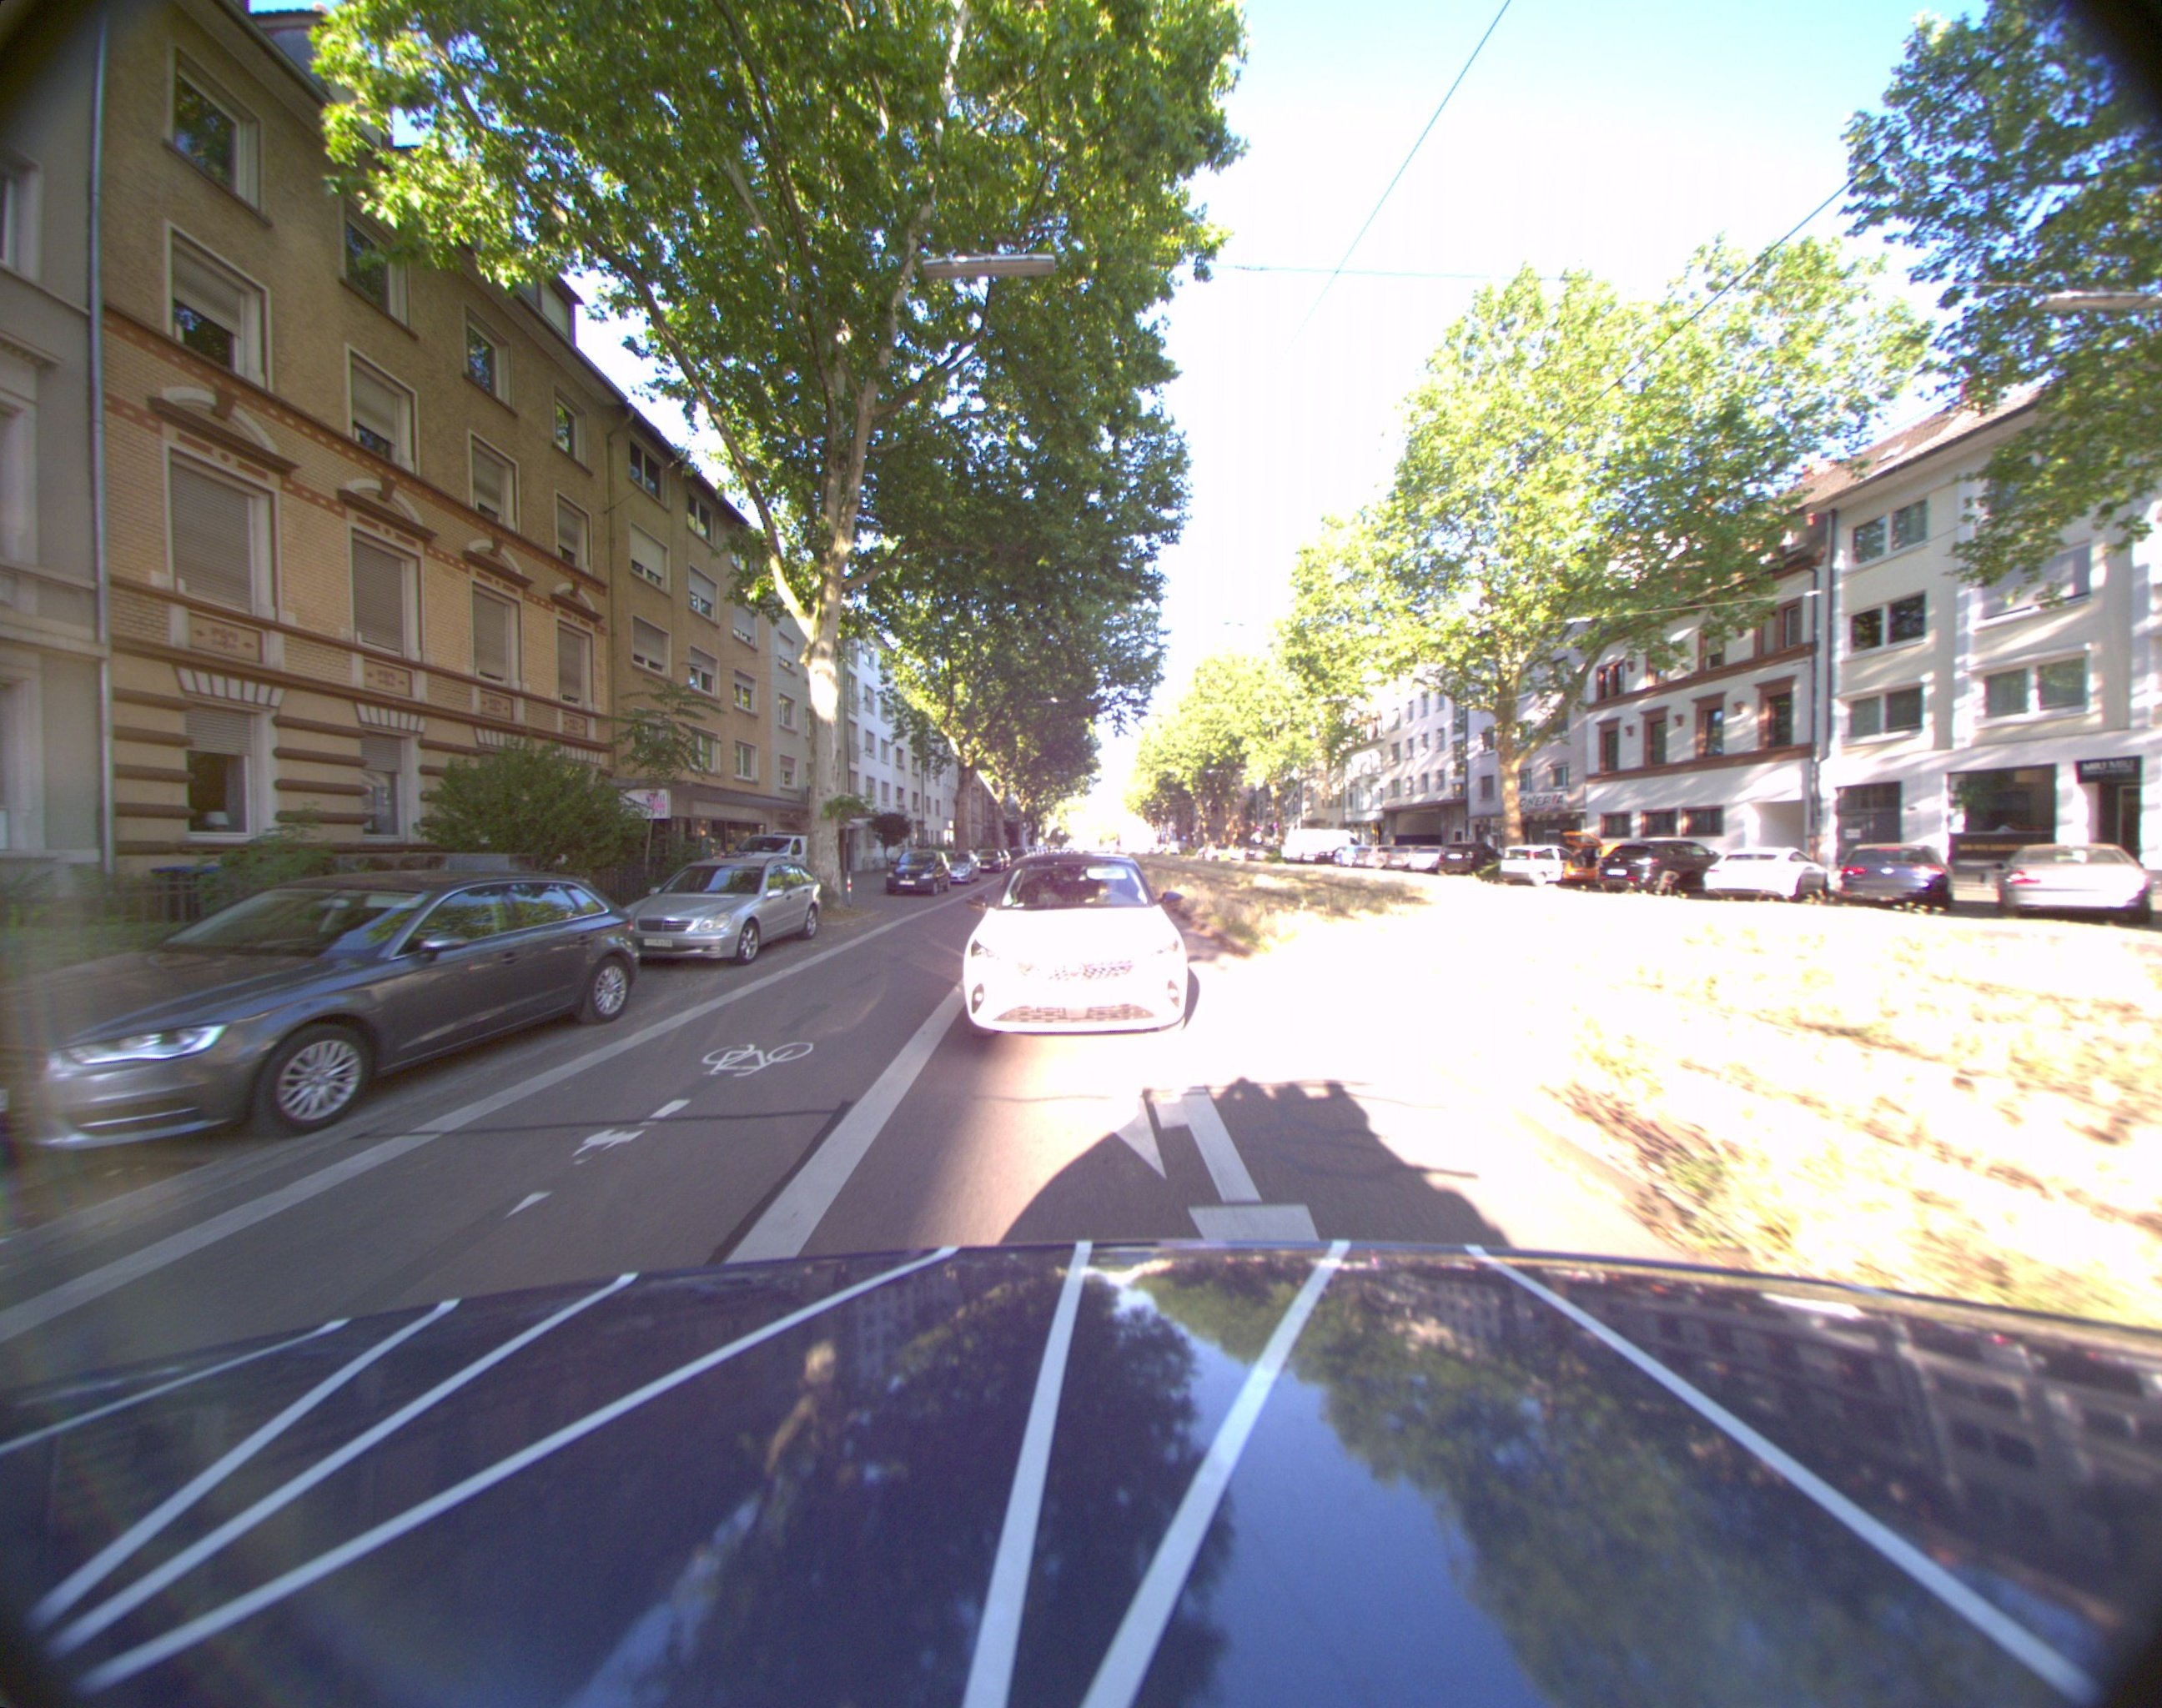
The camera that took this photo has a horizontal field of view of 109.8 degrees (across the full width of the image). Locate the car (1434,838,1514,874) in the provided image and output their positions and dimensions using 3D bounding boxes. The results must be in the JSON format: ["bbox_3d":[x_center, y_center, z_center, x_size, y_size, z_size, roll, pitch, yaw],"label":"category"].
[{"bbox_3d":[18.798,0.052,36.279,4.266,1.605,1.902,-1,2,-40],"label":"car"}]

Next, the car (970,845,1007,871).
[{"bbox_3d":[-5.694,0.228,47.398,1.803,1.494,4.369,2,1,-1],"label":"car"}]

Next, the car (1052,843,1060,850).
[{"bbox_3d":[-7.632,-2.356,232.818,1.998,1.850,4.000,-2,2,5],"label":"car"}]

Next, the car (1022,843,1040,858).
[{"bbox_3d":[-5.838,-0.443,88.562,1.803,1.599,4.103,2,1,-1],"label":"car"}]

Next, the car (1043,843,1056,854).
[{"bbox_3d":[-4.660,-0.844,111.788,1.803,1.598,3.701,2,1,-1],"label":"car"}]

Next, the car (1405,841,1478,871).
[{"bbox_3d":[18.842,0.081,39.622,4.265,1.451,1.598,-1,1,-36],"label":"car"}]

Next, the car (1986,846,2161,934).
[{"bbox_3d":[19.014,0.606,14.705,3.979,1.424,1.738,-1,0,-43],"label":"car"}]

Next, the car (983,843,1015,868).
[{"bbox_3d":[-5.649,0.089,52.834,1.803,1.599,4.369,2,1,-1],"label":"car"}]

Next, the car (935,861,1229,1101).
[{"bbox_3d":[-0.014,0.841,6.886,1.865,1.394,3.931,-2,1,-1],"label":"car"}]

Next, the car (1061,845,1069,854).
[{"bbox_3d":[-3.943,-1.115,187.971,1.998,2.002,3.999,-2,2,1],"label":"car"}]

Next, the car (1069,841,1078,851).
[{"bbox_3d":[-1.652,-1.858,169.908,1.998,2.002,3.999,-2,2,0],"label":"car"}]

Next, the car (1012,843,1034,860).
[{"bbox_3d":[-5.755,-0.262,75.680,1.803,1.599,4.103,2,1,-1],"label":"car"}]

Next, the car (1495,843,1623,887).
[{"bbox_3d":[18.012,0.360,28.667,4.260,1.549,1.641,-1,1,-15],"label":"car"}]

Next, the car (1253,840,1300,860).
[{"bbox_3d":[18.465,-0.413,71.769,4.005,1.805,1.995,-1,1,-27],"label":"car"}]

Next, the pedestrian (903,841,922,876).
[{"bbox_3d":[-7.898,0.204,35.638,0.728,1.571,0.701,0,2,0],"label":"pedestrian"}]

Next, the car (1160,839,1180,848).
[{"bbox_3d":[18.195,-2.069,155.594,3.994,1.802,1.874,0,1,10],"label":"car"}]

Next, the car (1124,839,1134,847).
[{"bbox_3d":[16.566,-3.729,260.044,2.963,2.407,6.326,-2,1,0],"label":"car"}]

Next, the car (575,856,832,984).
[{"bbox_3d":[-5.420,0.832,11.686,1.803,1.447,4.510,2,1,-2],"label":"car"}]

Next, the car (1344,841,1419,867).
[{"bbox_3d":[18.650,-0.005,47.175,4.004,1.509,1.996,-1,1,-20],"label":"car"}]

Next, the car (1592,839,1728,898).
[{"bbox_3d":[18.120,0.373,23.751,4.265,1.674,2.147,-1,1,-35],"label":"car"}]

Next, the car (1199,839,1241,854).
[{"bbox_3d":[15.673,-0.855,85.794,4.234,1.696,1.999,-1,1,-4],"label":"car"}]

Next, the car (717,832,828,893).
[{"bbox_3d":[-10.490,0.230,26.245,1.933,1.864,4.676,2,1,-1],"label":"car"}]

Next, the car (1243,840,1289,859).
[{"bbox_3d":[18.270,-0.465,75.040,4.005,1.805,1.995,-1,1,-27],"label":"car"}]

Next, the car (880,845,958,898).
[{"bbox_3d":[-5.524,0.528,26.441,1.803,1.599,4.369,2,1,-1],"label":"car"}]

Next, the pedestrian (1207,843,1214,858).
[{"bbox_3d":[14.468,-0.377,84.903,0.620,1.588,0.422,0,2,0],"label":"pedestrian"}]

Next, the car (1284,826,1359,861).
[{"bbox_3d":[18.892,-0.862,59.595,5.619,2.685,2.175,-1,1,-24],"label":"car"}]

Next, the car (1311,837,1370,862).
[{"bbox_3d":[19.416,-0.348,56.893,4.005,1.805,1.995,-1,1,-27],"label":"car"}]

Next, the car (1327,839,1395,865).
[{"bbox_3d":[18.544,-0.160,50.299,4.005,1.609,1.995,-1,1,-27],"label":"car"}]

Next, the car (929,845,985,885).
[{"bbox_3d":[-5.498,0.435,34.146,1.803,1.599,4.369,2,1,-1],"label":"car"}]

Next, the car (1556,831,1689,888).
[{"bbox_3d":[19.364,0.150,27.199,4.260,1.932,1.514,-1,1,-15],"label":"car"}]

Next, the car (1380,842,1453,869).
[{"bbox_3d":[19.001,0.066,42.983,4.265,1.449,1.902,-1,1,-36],"label":"car"}]

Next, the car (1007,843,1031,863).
[{"bbox_3d":[-5.542,-0.115,68.145,1.803,1.599,4.103,2,1,-1],"label":"car"}]

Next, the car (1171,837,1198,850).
[{"bbox_3d":[17.997,-1.809,131.971,4.951,2.200,2.096,-1,2,-42],"label":"car"}]

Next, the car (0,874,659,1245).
[{"bbox_3d":[-5.204,0.968,5.524,1.802,1.394,4.369,2,1,0],"label":"car"}]

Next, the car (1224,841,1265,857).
[{"bbox_3d":[17.958,-0.553,83.517,4.005,1.696,1.995,-1,1,-27],"label":"car"}]

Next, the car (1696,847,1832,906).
[{"bbox_3d":[18.370,0.508,20.379,4.266,1.369,2.147,-1,1,-40],"label":"car"}]

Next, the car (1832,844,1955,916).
[{"bbox_3d":[19.279,0.522,18.064,3.979,1.495,1.826,-1,2,-43],"label":"car"}]

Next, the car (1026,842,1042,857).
[{"bbox_3d":[-5.827,-0.608,94.947,1.803,1.743,4.103,2,1,-1],"label":"car"}]
